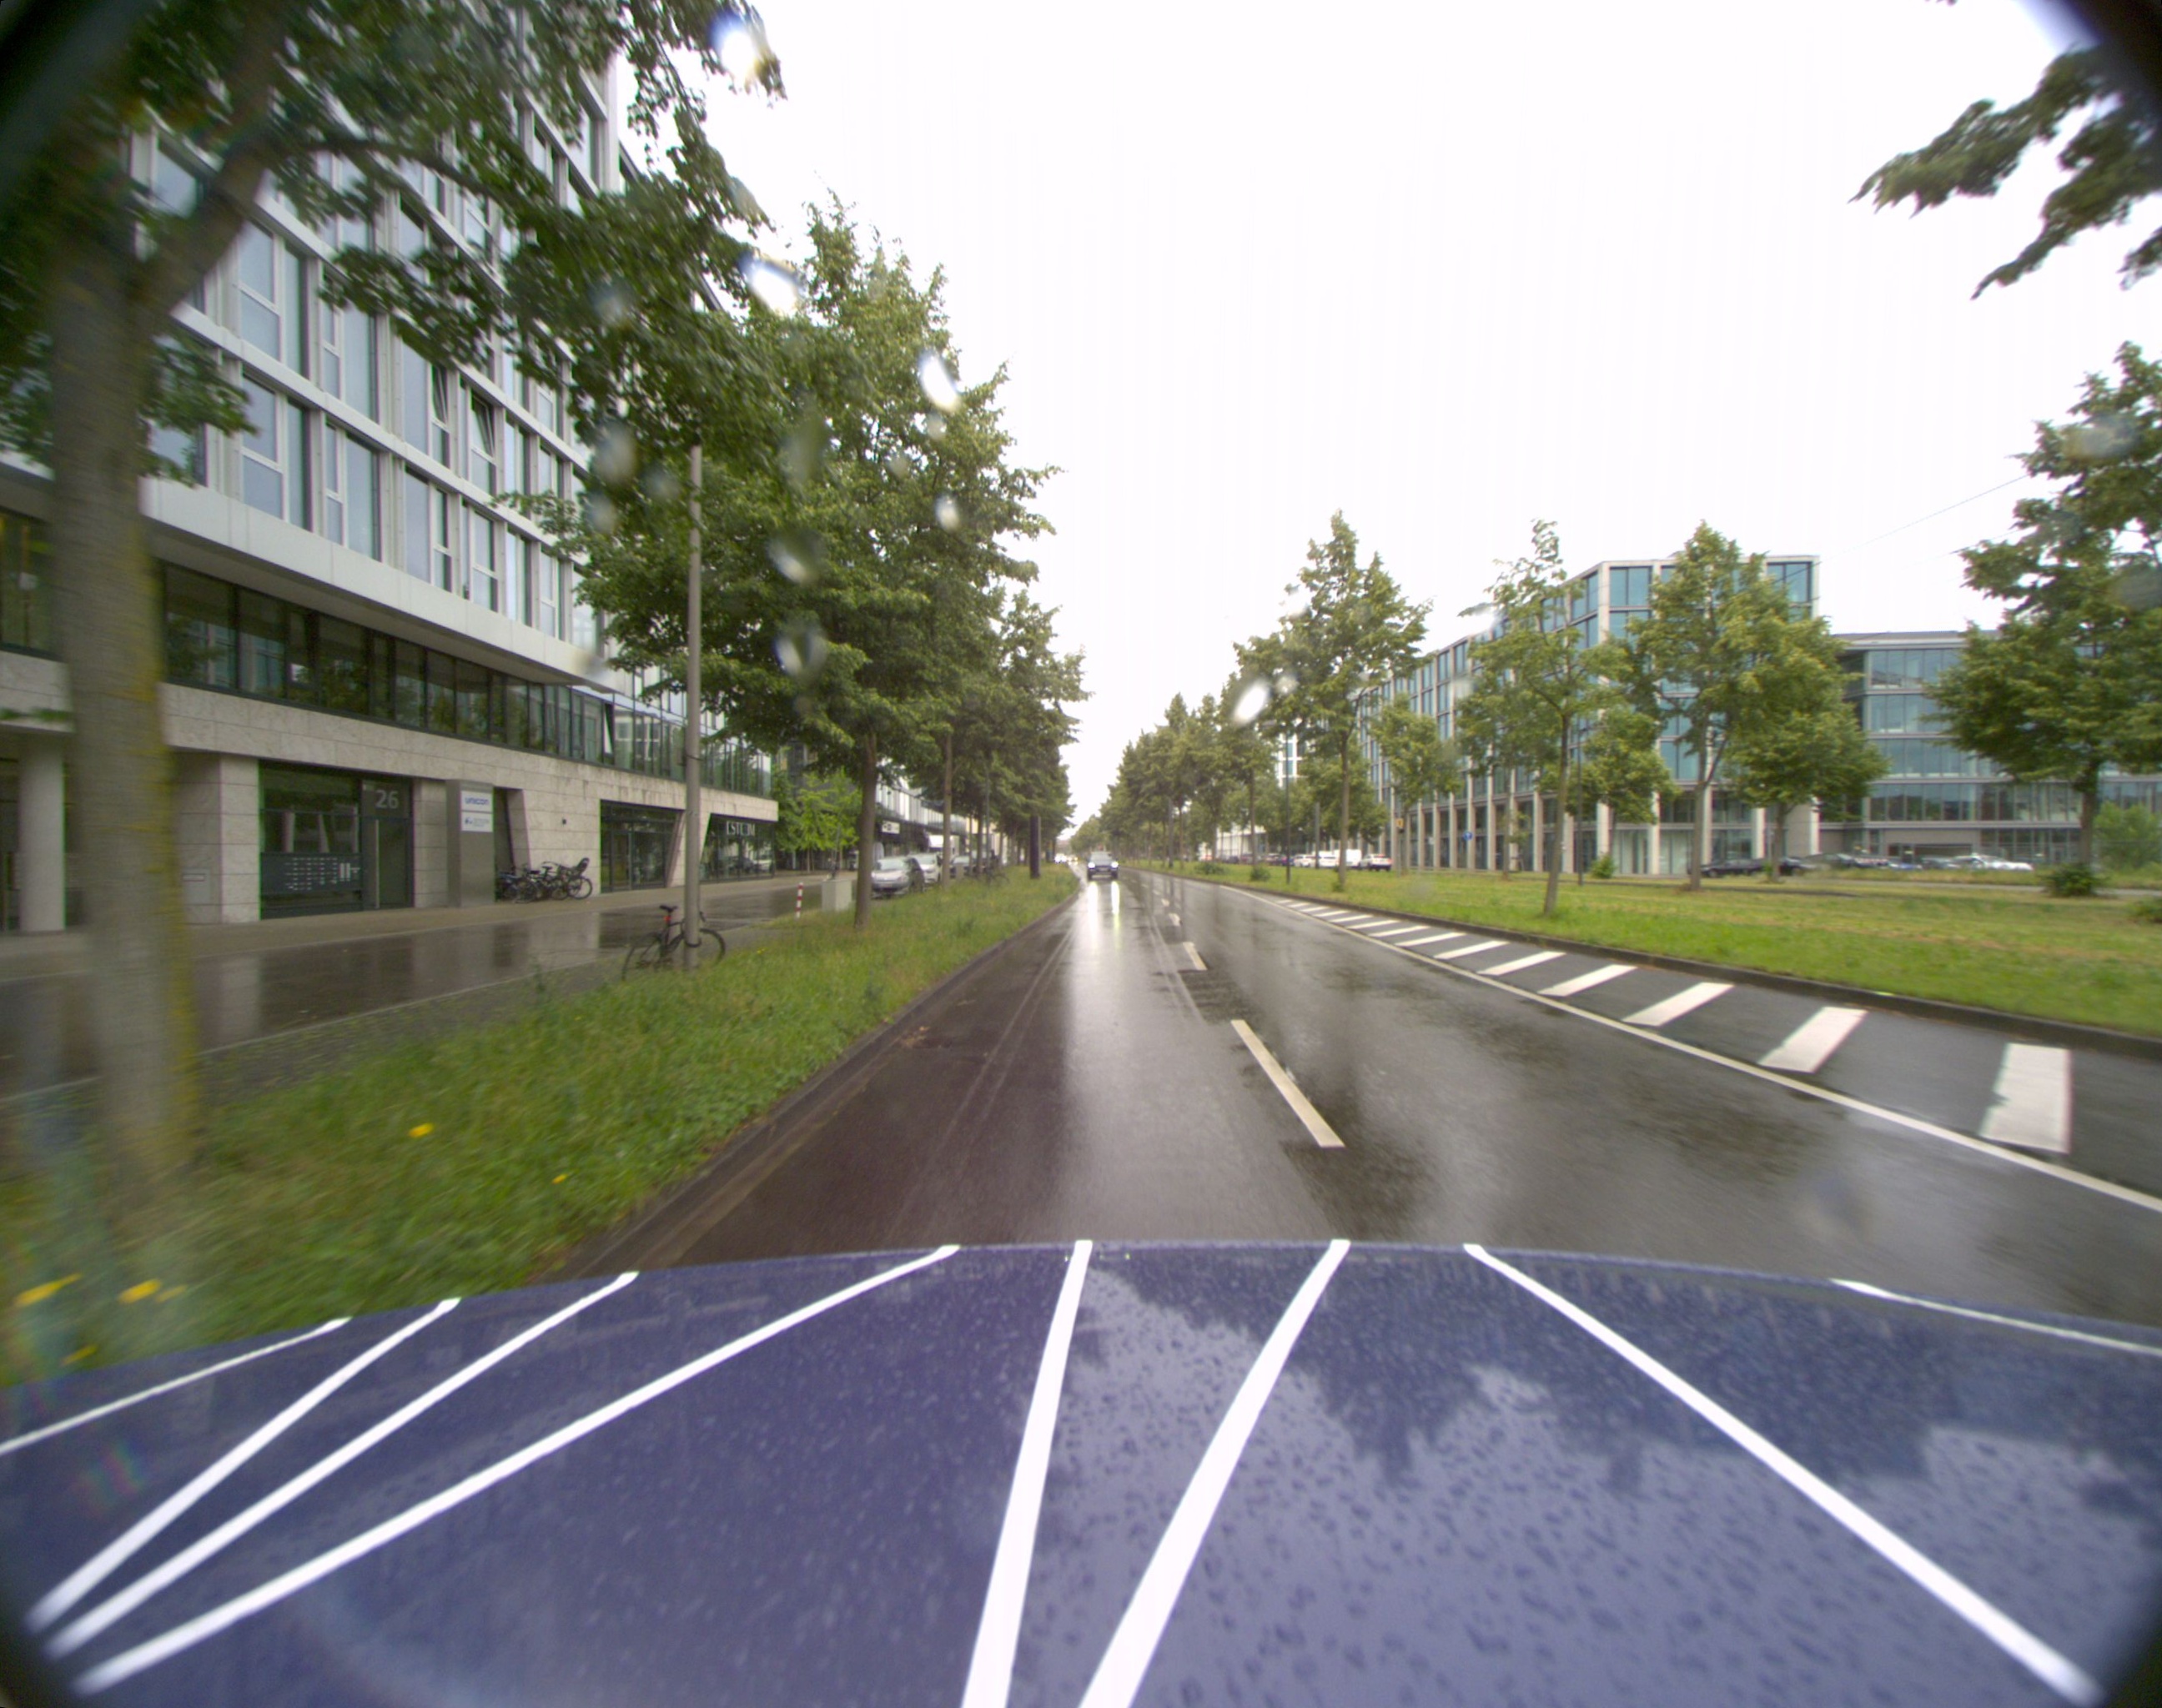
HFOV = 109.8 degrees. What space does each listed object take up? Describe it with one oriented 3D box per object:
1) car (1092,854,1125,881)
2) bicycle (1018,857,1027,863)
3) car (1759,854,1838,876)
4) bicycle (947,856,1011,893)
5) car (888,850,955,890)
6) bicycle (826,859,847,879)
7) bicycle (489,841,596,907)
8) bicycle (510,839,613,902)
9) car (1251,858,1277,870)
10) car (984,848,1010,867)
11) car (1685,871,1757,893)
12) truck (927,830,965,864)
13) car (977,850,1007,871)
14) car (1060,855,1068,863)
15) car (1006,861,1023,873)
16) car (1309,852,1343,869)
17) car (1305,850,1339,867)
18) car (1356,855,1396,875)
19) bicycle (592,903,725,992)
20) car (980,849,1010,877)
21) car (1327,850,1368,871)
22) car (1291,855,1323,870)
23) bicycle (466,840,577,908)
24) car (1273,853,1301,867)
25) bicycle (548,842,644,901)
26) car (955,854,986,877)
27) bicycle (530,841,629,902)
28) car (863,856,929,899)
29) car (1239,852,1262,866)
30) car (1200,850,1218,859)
[{"bbox_3d":[1.704,0.827,48.791,1.928,1.650,4.715,1,0,0],"label":"car"},{"bbox_3d":[-9.270,0.901,121.222,1.458,0.911,0.434,-1,-2,31],"label":"bicycle"},{"bbox_3d":[43.643,0.707,46.310,1.504,1.232,3.662,0,-2,4],"label":"car"},{"bbox_3d":[-3.329,0.664,24.852,2.040,1.189,0.491,0,1,-1],"label":"bicycle"},{"bbox_3d":[-6.912,0.739,33.428,1.999,1.659,4.725,0,-2,-1],"label":"car"},{"bbox_3d":[-14.060,0.848,43.776,0.519,1.124,2.064,0,0,1],"label":"bicycle"},{"bbox_3d":[-15.624,0.570,22.087,2.686,1.850,0.707,0,0,4],"label":"bicycle"},{"bbox_3d":[-15.637,0.501,22.881,2.686,1.850,0.707,0,0,4],"label":"bicycle"},{"bbox_3d":[22.673,1.245,94.092,1.956,1.377,4.605,0,-2,-2],"label":"car"},{"bbox_3d":[-7.813,0.335,71.202,1.999,1.659,4.723,-1,-1,-2],"label":"car"},{"bbox_3d":[47.280,2.058,56.176,3.797,1.599,1.745,0,-2,2],"label":"car"},{"bbox_3d":[-14.277,-0.669,80.891,3.033,3.421,8.544,0,0,-4],"label":"truck"},{"bbox_3d":[-7.526,0.560,64.625,1.999,1.659,4.958,-1,-1,-1],"label":"car"},{"bbox_3d":[-3.650,1.092,162.546,1.687,1.520,3.969,0,-2,-3],"label":"car"},{"bbox_3d":[-7.993,1.550,91.647,1.999,1.436,5.235,0,0,-4],"label":"car"},{"bbox_3d":[23.625,0.674,73.492,1.955,1.452,4.833,0,-2,2],"label":"car"},{"bbox_3d":[26.653,0.537,84.235,1.956,1.641,5.030,0,-2,-3],"label":"car"},{"bbox_3d":[26.510,0.951,68.398,1.955,1.739,4.576,0,0,2],"label":"car"},{"bbox_3d":[-4.591,0.978,8.411,0.343,0.817,1.903,0,-2,2],"label":"bicycle"},{"bbox_3d":[-6.516,0.713,57.225,2.000,1.940,5.026,0,-2,-9],"label":"car"},{"bbox_3d":[26.745,0.694,76.505,2.274,1.994,5.374,0,-2,0],"label":"car"},{"bbox_3d":[23.733,0.883,79.884,1.956,1.504,4.575,0,0,-2],"label":"car"},{"bbox_3d":[-15.692,0.549,21.342,2.686,1.850,0.707,0,0,4],"label":"bicycle"},{"bbox_3d":[23.419,0.668,86.631,1.956,1.485,3.962,0,-2,-3],"label":"car"},{"bbox_3d":[-15.581,0.555,24.428,2.686,1.850,0.707,0,0,4],"label":"bicycle"},{"bbox_3d":[-7.354,0.742,50.858,1.962,1.504,4.479,0,0,-7],"label":"car"},{"bbox_3d":[-15.610,0.545,23.662,2.686,1.850,0.707,0,0,4],"label":"bicycle"},{"bbox_3d":[-6.677,0.839,27.733,1.630,1.482,3.655,0,-1,-2],"label":"car"},{"bbox_3d":[23.019,0.760,103.316,1.956,1.837,4.543,0,-1,-2],"label":"car"},{"bbox_3d":[19.736,0.096,117.381,1.956,1.444,4.575,0,0,-2],"label":"car"}]
